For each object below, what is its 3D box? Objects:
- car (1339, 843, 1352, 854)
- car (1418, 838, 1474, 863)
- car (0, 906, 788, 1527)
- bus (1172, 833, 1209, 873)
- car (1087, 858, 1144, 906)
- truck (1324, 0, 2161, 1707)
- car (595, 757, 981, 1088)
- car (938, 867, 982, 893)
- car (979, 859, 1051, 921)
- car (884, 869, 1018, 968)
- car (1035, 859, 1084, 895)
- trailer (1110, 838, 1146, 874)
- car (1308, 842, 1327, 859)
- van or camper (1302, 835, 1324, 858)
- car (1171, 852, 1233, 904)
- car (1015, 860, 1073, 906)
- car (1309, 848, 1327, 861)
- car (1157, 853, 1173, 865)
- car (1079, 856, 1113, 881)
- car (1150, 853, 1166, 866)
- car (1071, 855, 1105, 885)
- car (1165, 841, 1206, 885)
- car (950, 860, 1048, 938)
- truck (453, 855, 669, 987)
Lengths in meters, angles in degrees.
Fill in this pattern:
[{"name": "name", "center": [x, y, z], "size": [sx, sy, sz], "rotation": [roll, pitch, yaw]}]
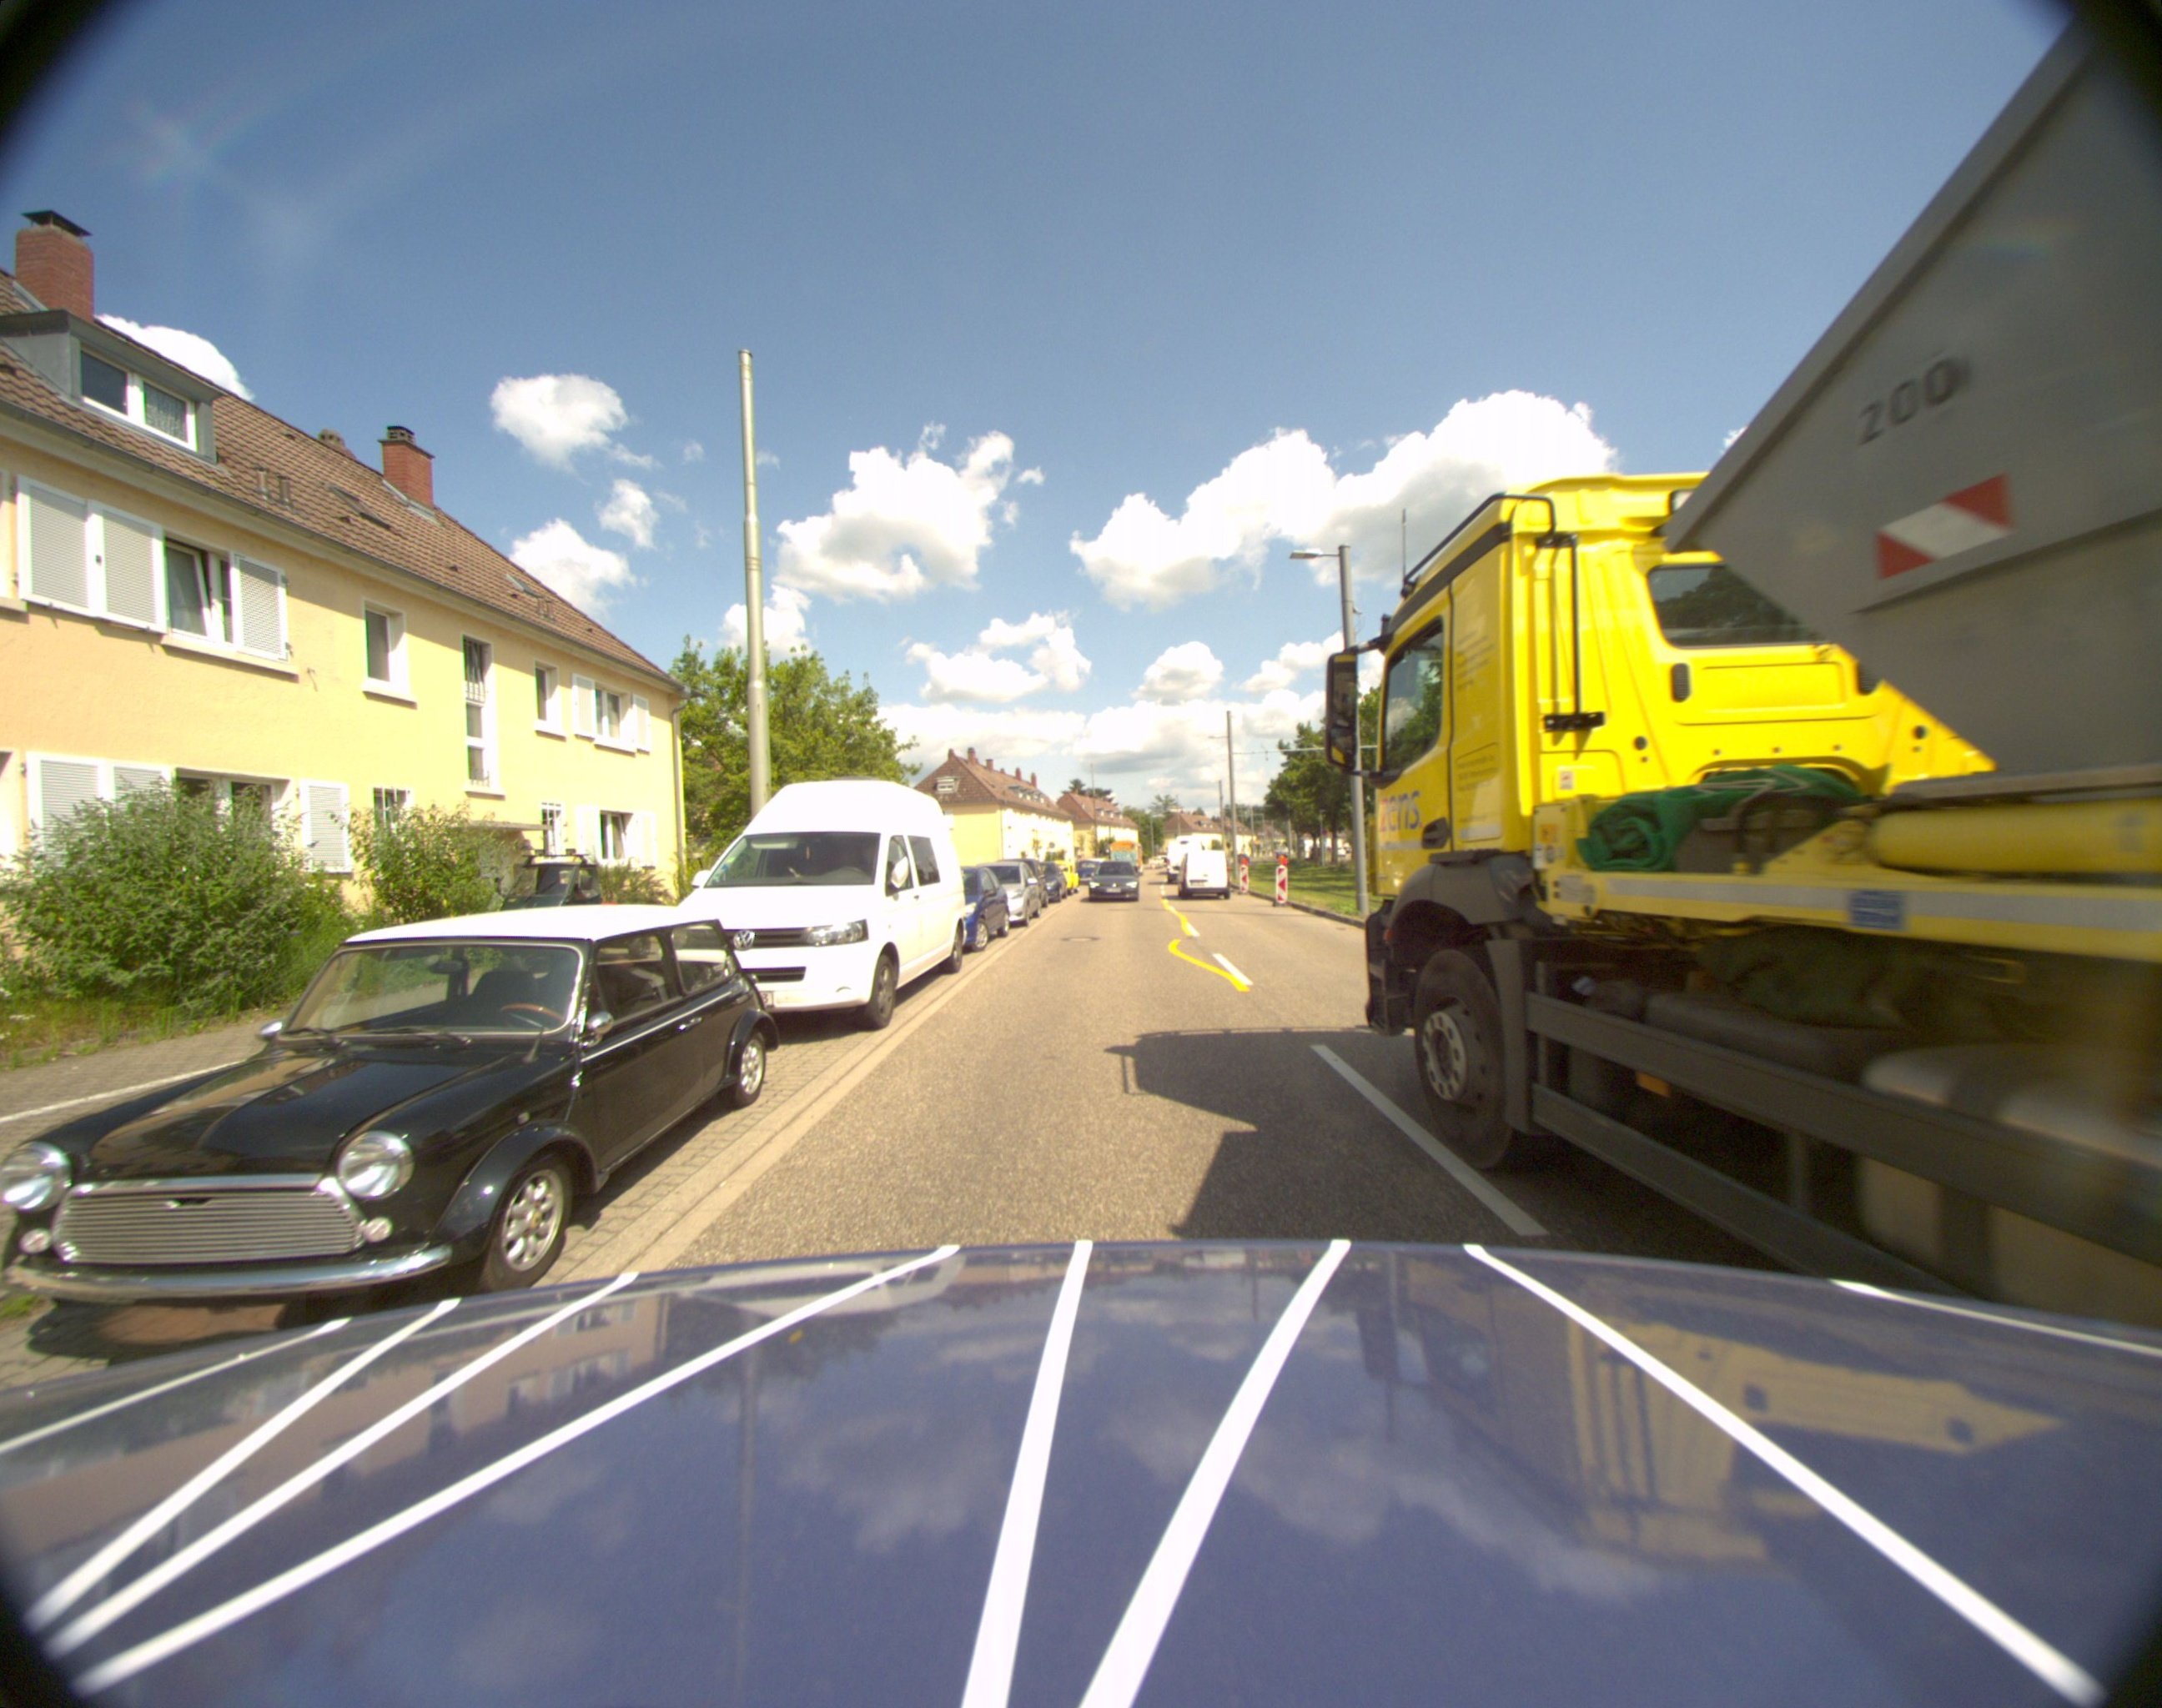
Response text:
[{"name": "car", "center": [43.198, -0.880, 124.097], "size": [1.883, 1.758, 5.089], "rotation": [-2, 0, 17]}, {"name": "car", "center": [31.653, -0.317, 65.936], "size": [3.896, 1.886, 1.941], "rotation": [-4, 0, -9]}, {"name": "car", "center": [-2.703, 1.074, 3.628], "size": [1.345, 1.332, 3.287], "rotation": [-3, 1, -2]}, {"name": "bus", "center": [9.991, -0.087, 70.430], "size": [2.642, 3.392, 12.253], "rotation": [-1, 0, 5]}, {"name": "car", "center": [1.330, 0.946, 27.609], "size": [1.742, 1.513, 4.703], "rotation": [-1, 1, 6]}, {"name": "truck", "center": [2.880, -0.138, 1.765], "size": [2.566, 3.439, 7.151], "rotation": [-1, 0, 2]}, {"name": "car", "center": [-2.587, 0.523, 8.512], "size": [1.934, 2.466, 5.518], "rotation": [-2, 0, 2]}, {"name": "car", "center": [-7.172, 1.498, 45.411], "size": [1.640, 1.366, 4.089], "rotation": [-2, 0, 4]}, {"name": "car", "center": [-1.883, 1.005, 22.693], "size": [1.640, 1.593, 3.932], "rotation": [-3, 0, 1]}, {"name": "car", "center": [-2.213, 1.064, 13.873], "size": [1.539, 1.437, 3.738], "rotation": [-3, 0, 3]}, {"name": "car", "center": [-0.880, 0.953, 33.100], "size": [1.639, 1.473, 3.933], "rotation": [0, 0, 5]}, {"name": "trailer", "center": [4.444, 0.180, 71.690], "size": [2.695, 3.208, 5.085], "rotation": [-2, 0, 10]}, {"name": "car", "center": [30.006, -0.415, 96.617], "size": [1.996, 2.002, 4.909], "rotation": [-3, 0, 15]}, {"name": "van or camper", "center": [31.466, -0.977, 103.223], "size": [2.379, 2.953, 7.303], "rotation": [-2, 0, 15]}, {"name": "car", "center": [4.559, 0.861, 29.161], "size": [1.738, 1.763, 4.309], "rotation": [-3, 0, 1]}, {"name": "car", "center": [-1.297, 1.026, 28.054], "size": [1.640, 1.473, 4.125], "rotation": [-3, 0, 3]}, {"name": "car", "center": [28.283, -0.001, 90.775], "size": [1.854, 1.379, 4.814], "rotation": [-3, 0, 19]}, {"name": "car", "center": [11.037, 0.582, 99.500], "size": [1.530, 1.472, 3.813], "rotation": [-1, 0, 15]}, {"name": "car", "center": [1.048, 0.919, 50.897], "size": [1.580, 1.504, 4.462], "rotation": [-2, 0, 9]}, {"name": "car", "center": [9.456, 0.697, 93.338], "size": [1.465, 1.493, 4.113], "rotation": [-1, 0, 13]}, {"name": "car", "center": [0.475, 0.917, 45.782], "size": [1.552, 1.631, 4.248], "rotation": [-2, 0, 6]}, {"name": "car", "center": [6.197, 0.498, 45.733], "size": [2.107, 2.429, 5.573], "rotation": [-3, 0, 5]}, {"name": "car", "center": [-1.865, 0.989, 18.527], "size": [1.640, 1.593, 4.030], "rotation": [-3, 0, 3]}, {"name": "truck", "center": [-7.494, 0.884, 11.203], "size": [1.349, 1.679, 2.441], "rotation": [-2, 1, 3]}]
